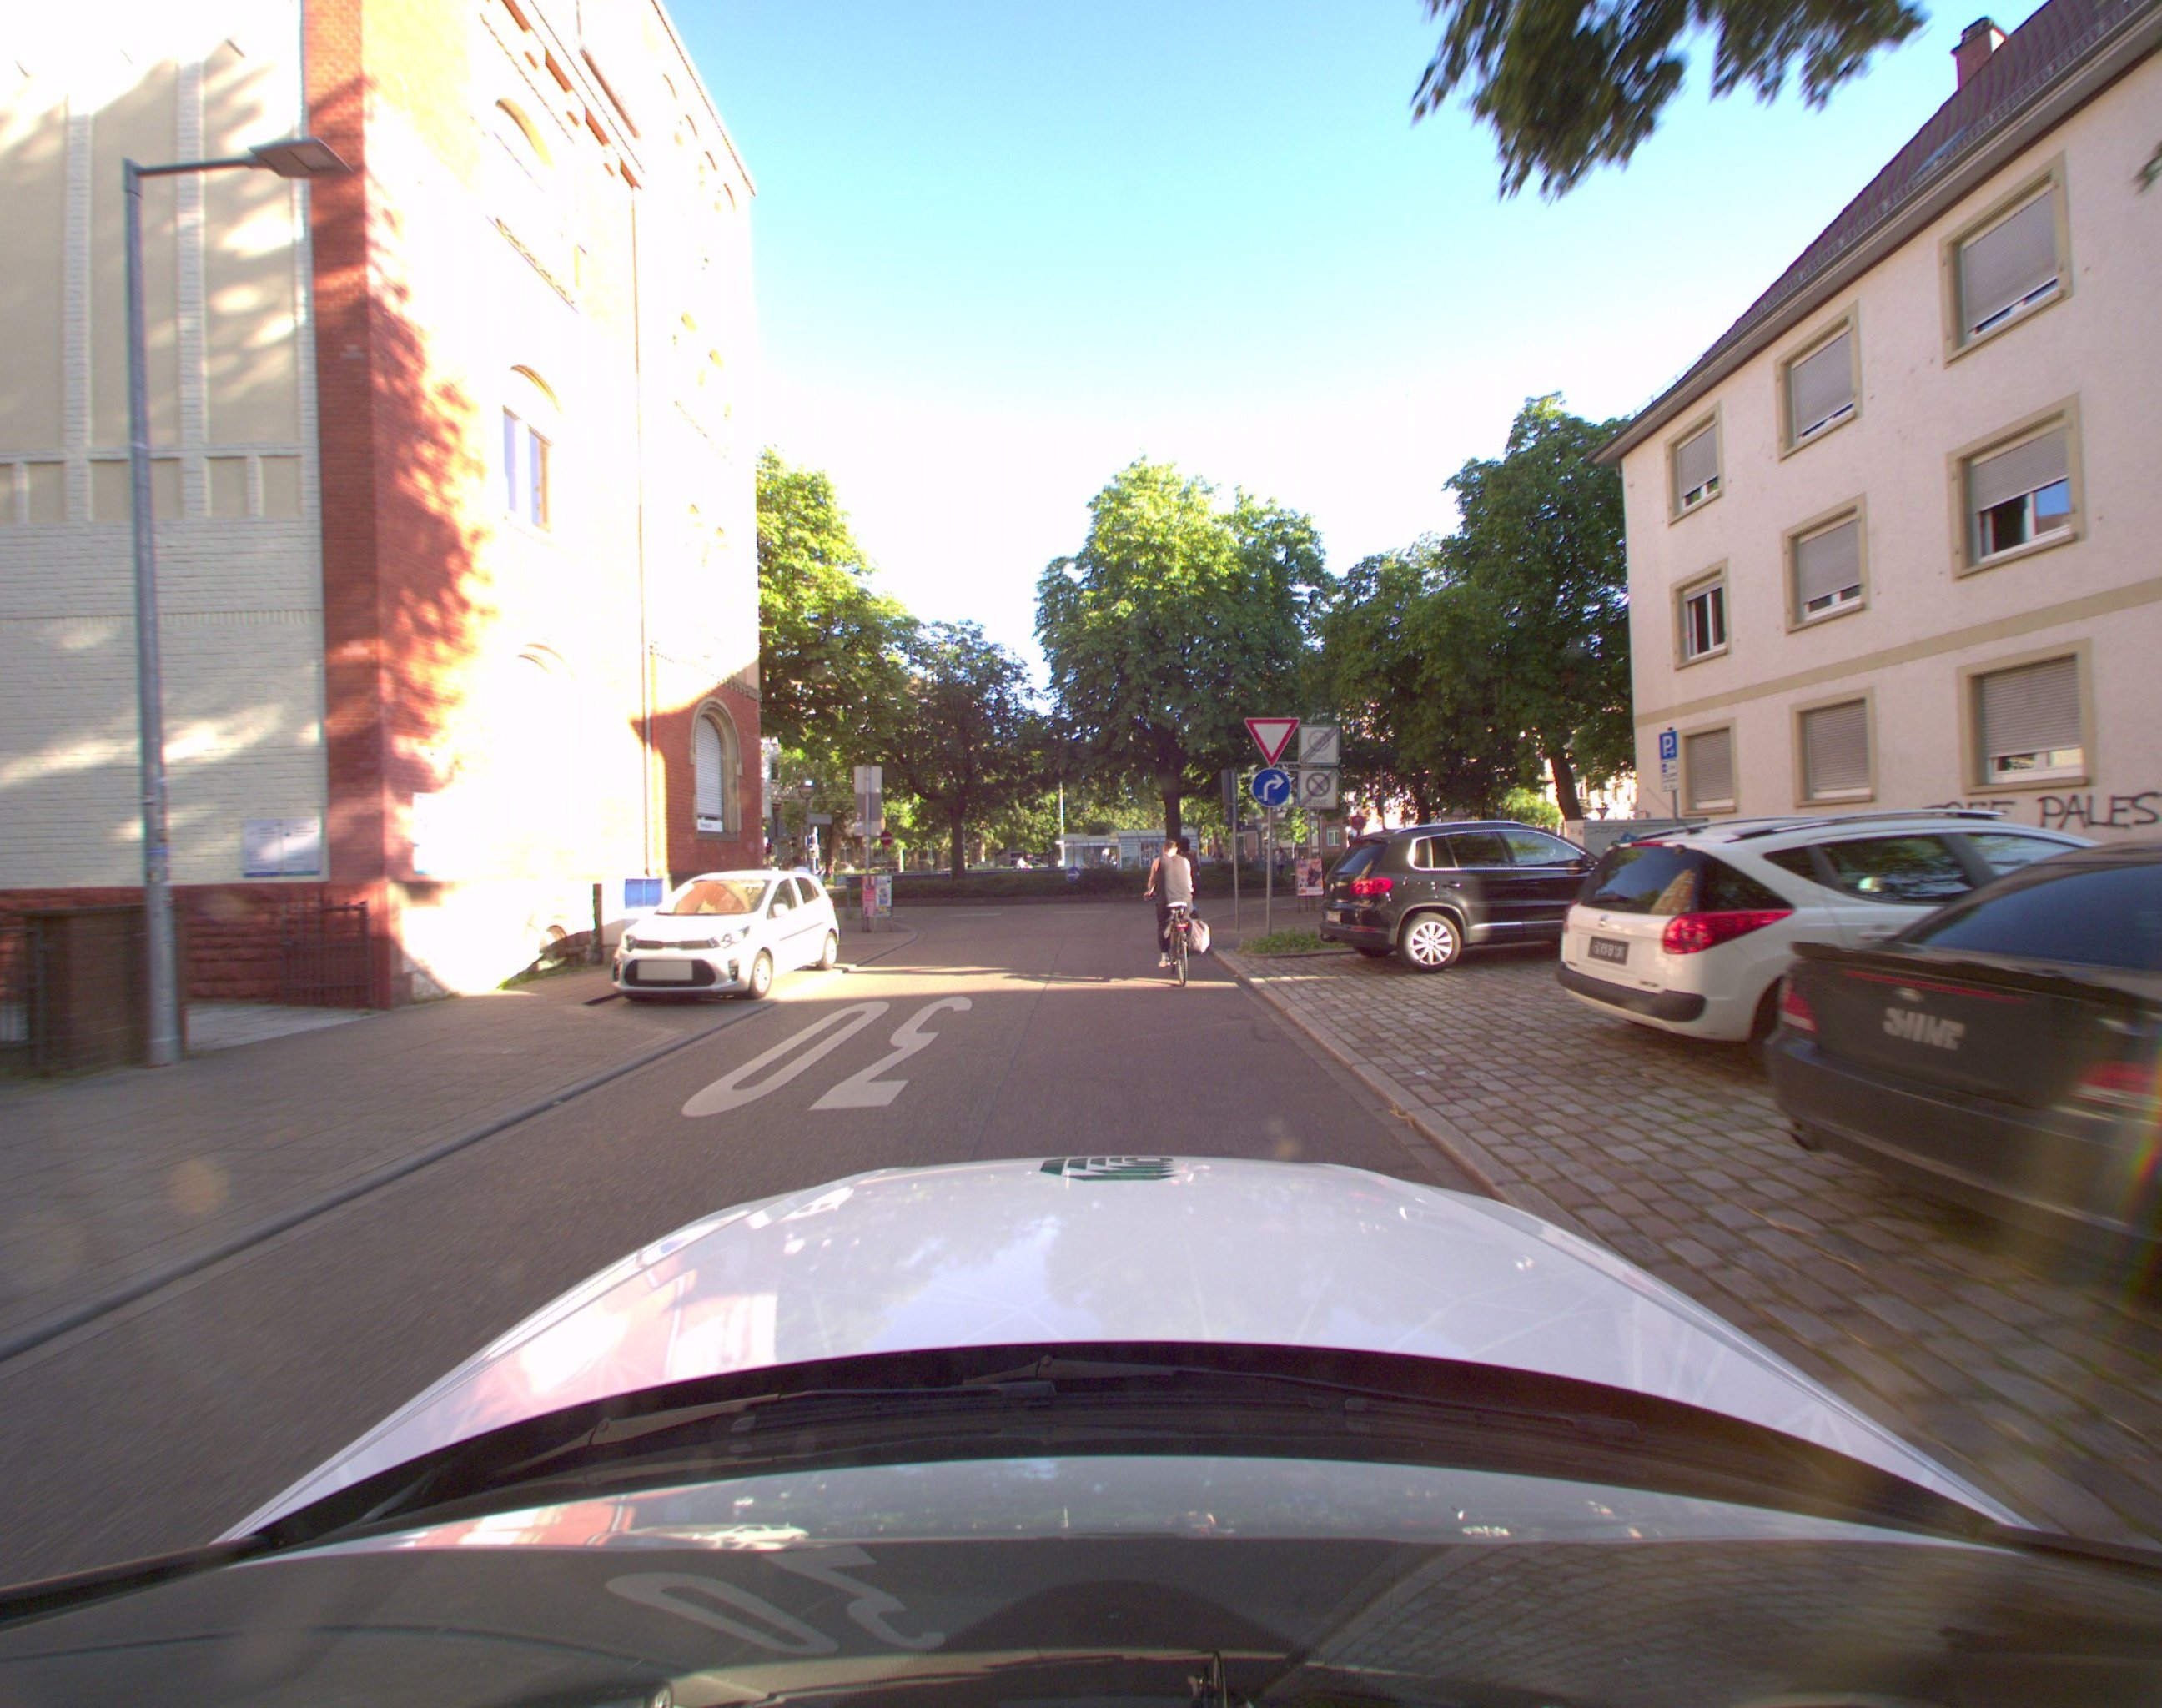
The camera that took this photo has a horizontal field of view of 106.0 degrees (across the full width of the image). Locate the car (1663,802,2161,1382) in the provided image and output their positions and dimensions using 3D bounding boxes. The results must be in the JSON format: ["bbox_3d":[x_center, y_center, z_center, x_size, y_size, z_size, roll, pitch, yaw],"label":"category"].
[{"bbox_3d":[4.748,0.481,2.830,4.090,1.412,1.793,-4,0,1],"label":"car"}]

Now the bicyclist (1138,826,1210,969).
[{"bbox_3d":[1.139,0.517,10.153,0.749,1.682,0.913,-2,-1,1],"label":"bicyclist"}]

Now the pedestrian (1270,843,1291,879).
[{"bbox_3d":[9.543,0.351,39.021,0.910,1.684,0.782,-2,0,11],"label":"pedestrian"}]

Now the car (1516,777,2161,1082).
[{"bbox_3d":[5.192,0.427,5.392,3.676,1.651,1.706,-2,0,4],"label":"car"}]

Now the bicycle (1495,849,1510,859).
[{"bbox_3d":[40.471,0.003,78.182,1.217,0.861,0.450,-2,0,-4],"label":"bicycle"}]

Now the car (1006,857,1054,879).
[{"bbox_3d":[-4.762,1.320,76.265,4.006,1.871,1.984,-2,0,-25],"label":"car"}]

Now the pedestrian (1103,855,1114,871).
[{"bbox_3d":[2.881,0.889,84.955,0.997,1.630,1.064,-2,0,0],"label":"pedestrian"}]

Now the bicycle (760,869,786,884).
[{"bbox_3d":[-22.080,1.609,58.377,0.646,0.945,1.753,-2,0,29],"label":"bicycle"}]

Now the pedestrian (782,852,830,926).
[{"bbox_3d":[-6.320,0.794,18.768,0.867,1.643,0.858,-2,0,-9],"label":"pedestrian"}]

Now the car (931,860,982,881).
[{"bbox_3d":[-11.020,1.468,72.190,3.971,1.679,1.930,-2,0,-43],"label":"car"}]

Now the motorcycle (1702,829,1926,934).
[{"bbox_3d":[10.040,0.350,11.312,0.974,1.280,2.177,-2,0,-7],"label":"motorcycle"}]

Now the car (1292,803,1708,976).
[{"bbox_3d":[4.963,0.370,10.084,4.097,1.712,2.022,-3,0,-4],"label":"car"}]

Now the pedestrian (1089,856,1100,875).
[{"bbox_3d":[1.113,0.930,67.026,0.809,1.543,0.818,1,-1,-10],"label":"pedestrian"}]

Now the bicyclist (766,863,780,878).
[{"bbox_3d":[-22.098,1.185,58.388,0.604,1.054,0.681,-2,0,28],"label":"bicyclist"}]

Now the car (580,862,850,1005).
[{"bbox_3d":[-4.449,0.871,10.601,1.699,1.485,3.798,0,0,1],"label":"car"}]

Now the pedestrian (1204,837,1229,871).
[{"bbox_3d":[6.730,-0.008,40.504,0.887,1.684,0.825,-2,0,35],"label":"pedestrian"}]

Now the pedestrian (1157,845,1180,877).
[{"bbox_3d":[5.262,0.432,48.874,1.020,1.897,0.906,-1,0,-21],"label":"pedestrian"}]

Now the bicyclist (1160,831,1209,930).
[{"bbox_3d":[1.651,0.416,13.110,0.668,1.514,1.070,-2,-1,4],"label":"bicyclist"}]

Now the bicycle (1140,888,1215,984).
[{"bbox_3d":[1.159,0.964,10.193,0.735,1.012,2.061,0,-1,1],"label":"bicycle"}]

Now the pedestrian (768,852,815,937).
[{"bbox_3d":[-5.676,0.780,16.007,0.598,1.605,0.854,-2,-1,-2],"label":"pedestrian"}]

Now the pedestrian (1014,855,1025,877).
[{"bbox_3d":[-4.848,0.951,64.540,0.704,1.695,0.666,1,-1,-21],"label":"pedestrian"}]

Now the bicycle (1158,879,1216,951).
[{"bbox_3d":[1.673,0.948,13.191,0.672,1.054,2.061,-1,-2,1],"label":"bicycle"}]
